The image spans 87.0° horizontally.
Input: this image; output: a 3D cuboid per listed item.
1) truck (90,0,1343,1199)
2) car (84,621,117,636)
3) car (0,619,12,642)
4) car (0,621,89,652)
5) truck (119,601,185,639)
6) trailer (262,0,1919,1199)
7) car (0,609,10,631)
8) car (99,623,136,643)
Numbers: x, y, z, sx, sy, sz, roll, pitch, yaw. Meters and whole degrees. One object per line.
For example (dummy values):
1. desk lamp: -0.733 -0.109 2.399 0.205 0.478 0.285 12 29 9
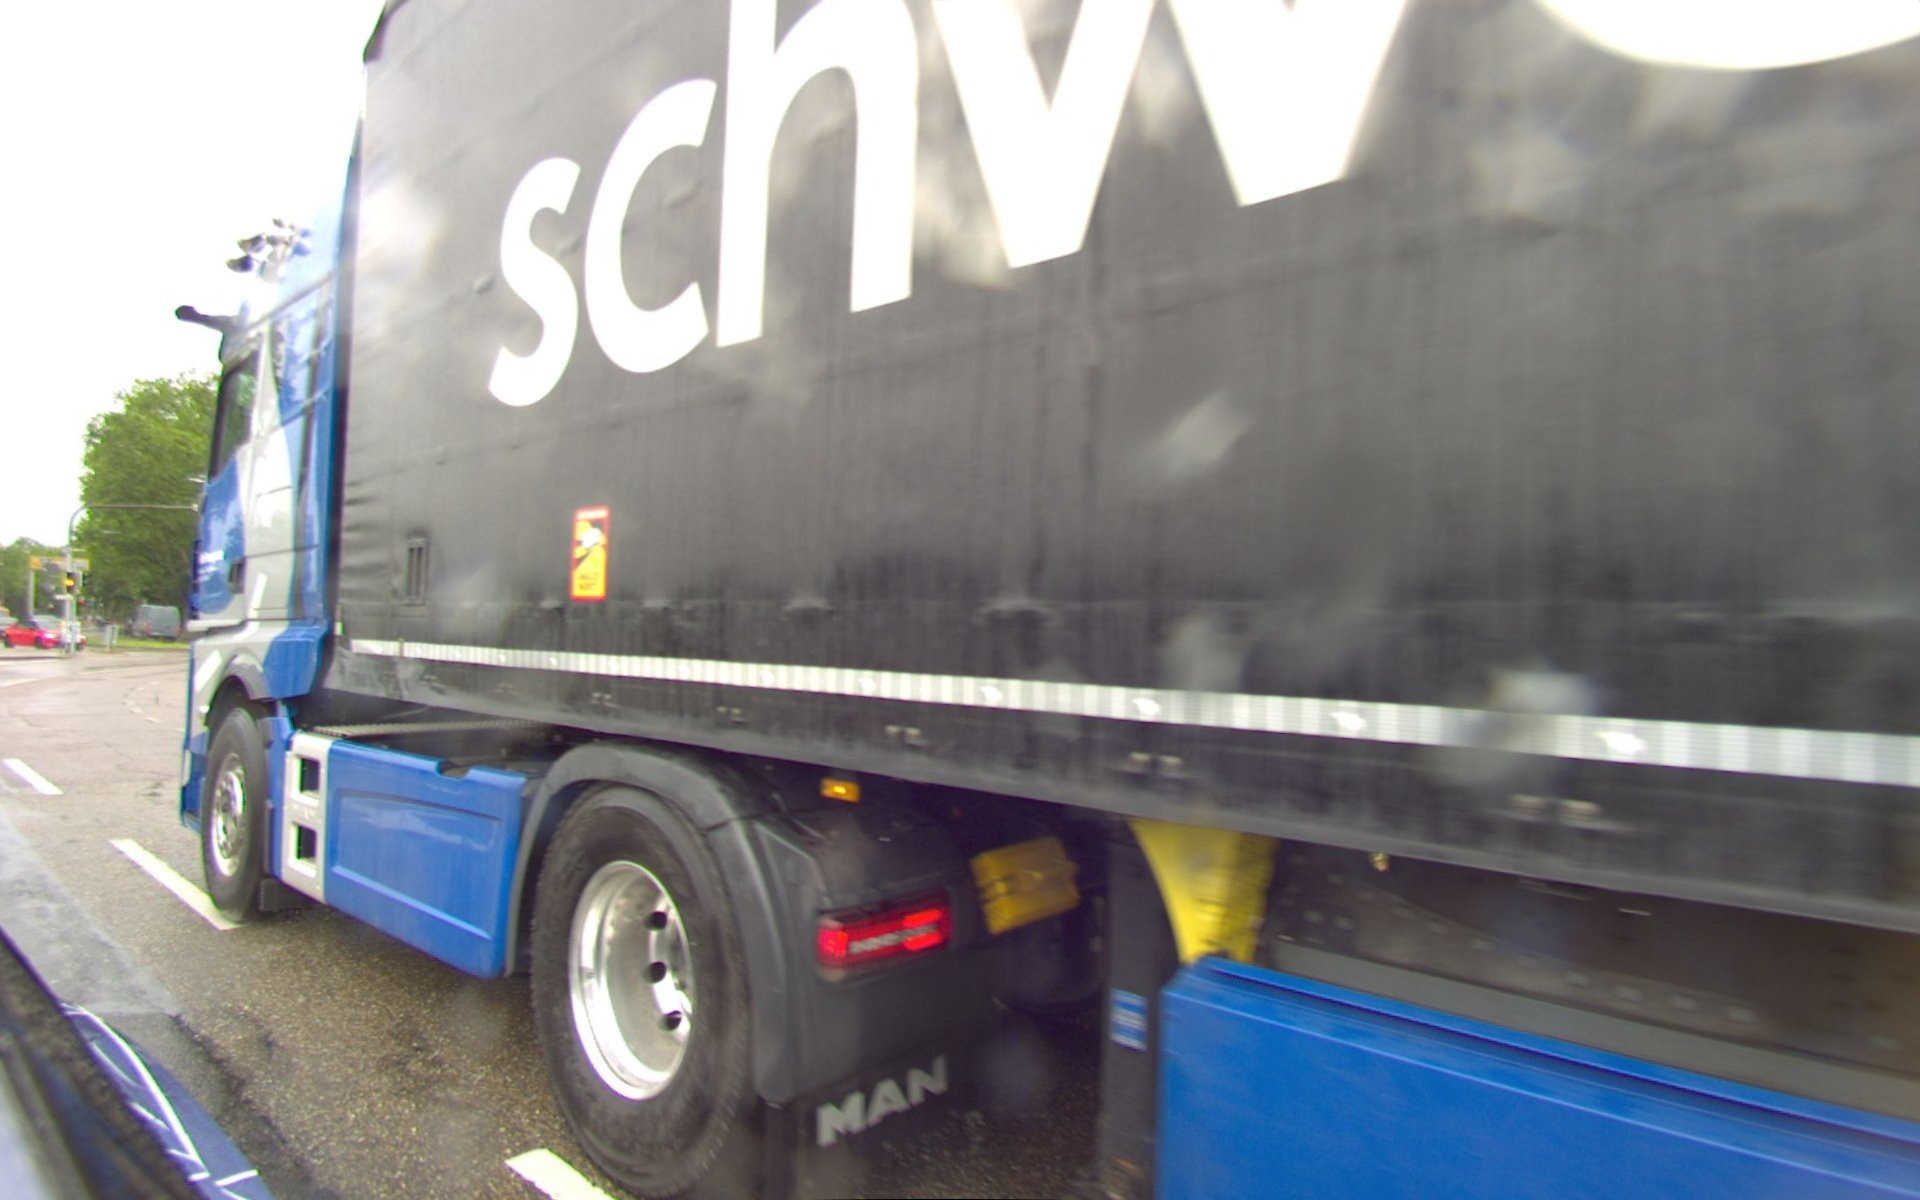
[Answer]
1. truck: -1.643 -0.638 5.208 6.028 4.689 3.260 -2 -3 40
2. car: -93.368 3.105 109.925 3.995 1.654 1.974 -1 -3 39
3. car: -58.302 1.837 61.023 1.620 1.364 3.779 2 -3 -43
4. car: -42.990 1.720 47.347 3.971 1.392 1.732 -1 -2 21
5. truck: -58.742 1.456 73.516 6.966 2.639 2.065 -1 -3 38
6. trailer: 3.707 -0.655 0.659 13.722 4.689 3.260 -1 -3 40
7. car: -76.788 1.606 80.352 1.827 1.614 4.505 -3 2 -43
8. car: -69.325 2.719 83.260 3.526 1.463 1.628 -4 -6 39
